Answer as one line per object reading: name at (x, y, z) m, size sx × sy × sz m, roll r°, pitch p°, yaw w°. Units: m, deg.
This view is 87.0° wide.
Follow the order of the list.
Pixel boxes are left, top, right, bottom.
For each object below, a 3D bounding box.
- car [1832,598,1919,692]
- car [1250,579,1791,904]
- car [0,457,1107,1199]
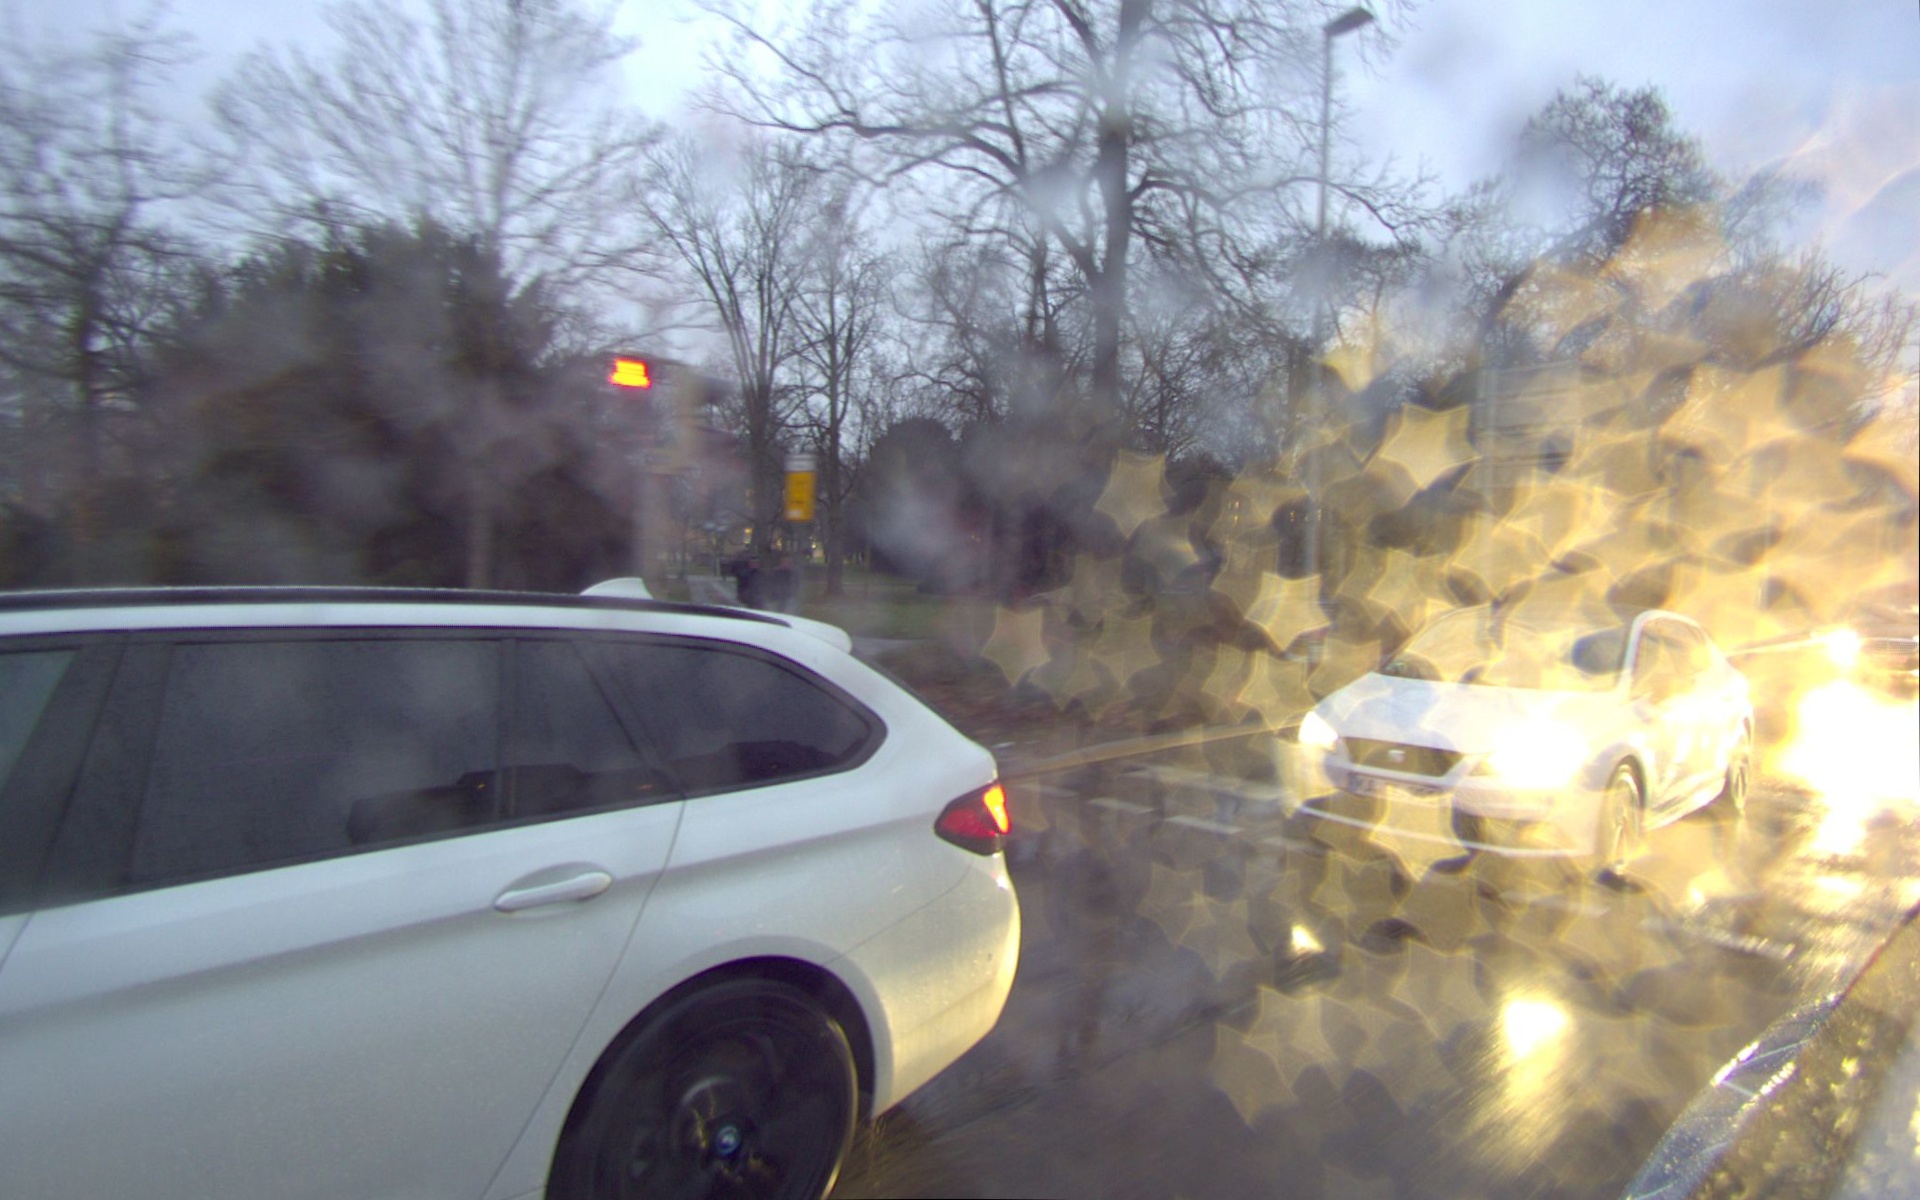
car at (18.076, 0.795, 19.110) m, size 4.007 × 1.516 × 1.879 m, roll -1°, pitch 3°, yaw -41°
car at (3.852, 0.624, 6.693) m, size 3.968 × 1.479 × 1.778 m, roll -1°, pitch 3°, yaw -39°
car at (-2.059, 0.558, 1.936) m, size 4.877 × 1.520 × 1.791 m, roll -1°, pitch 1°, yaw -38°
